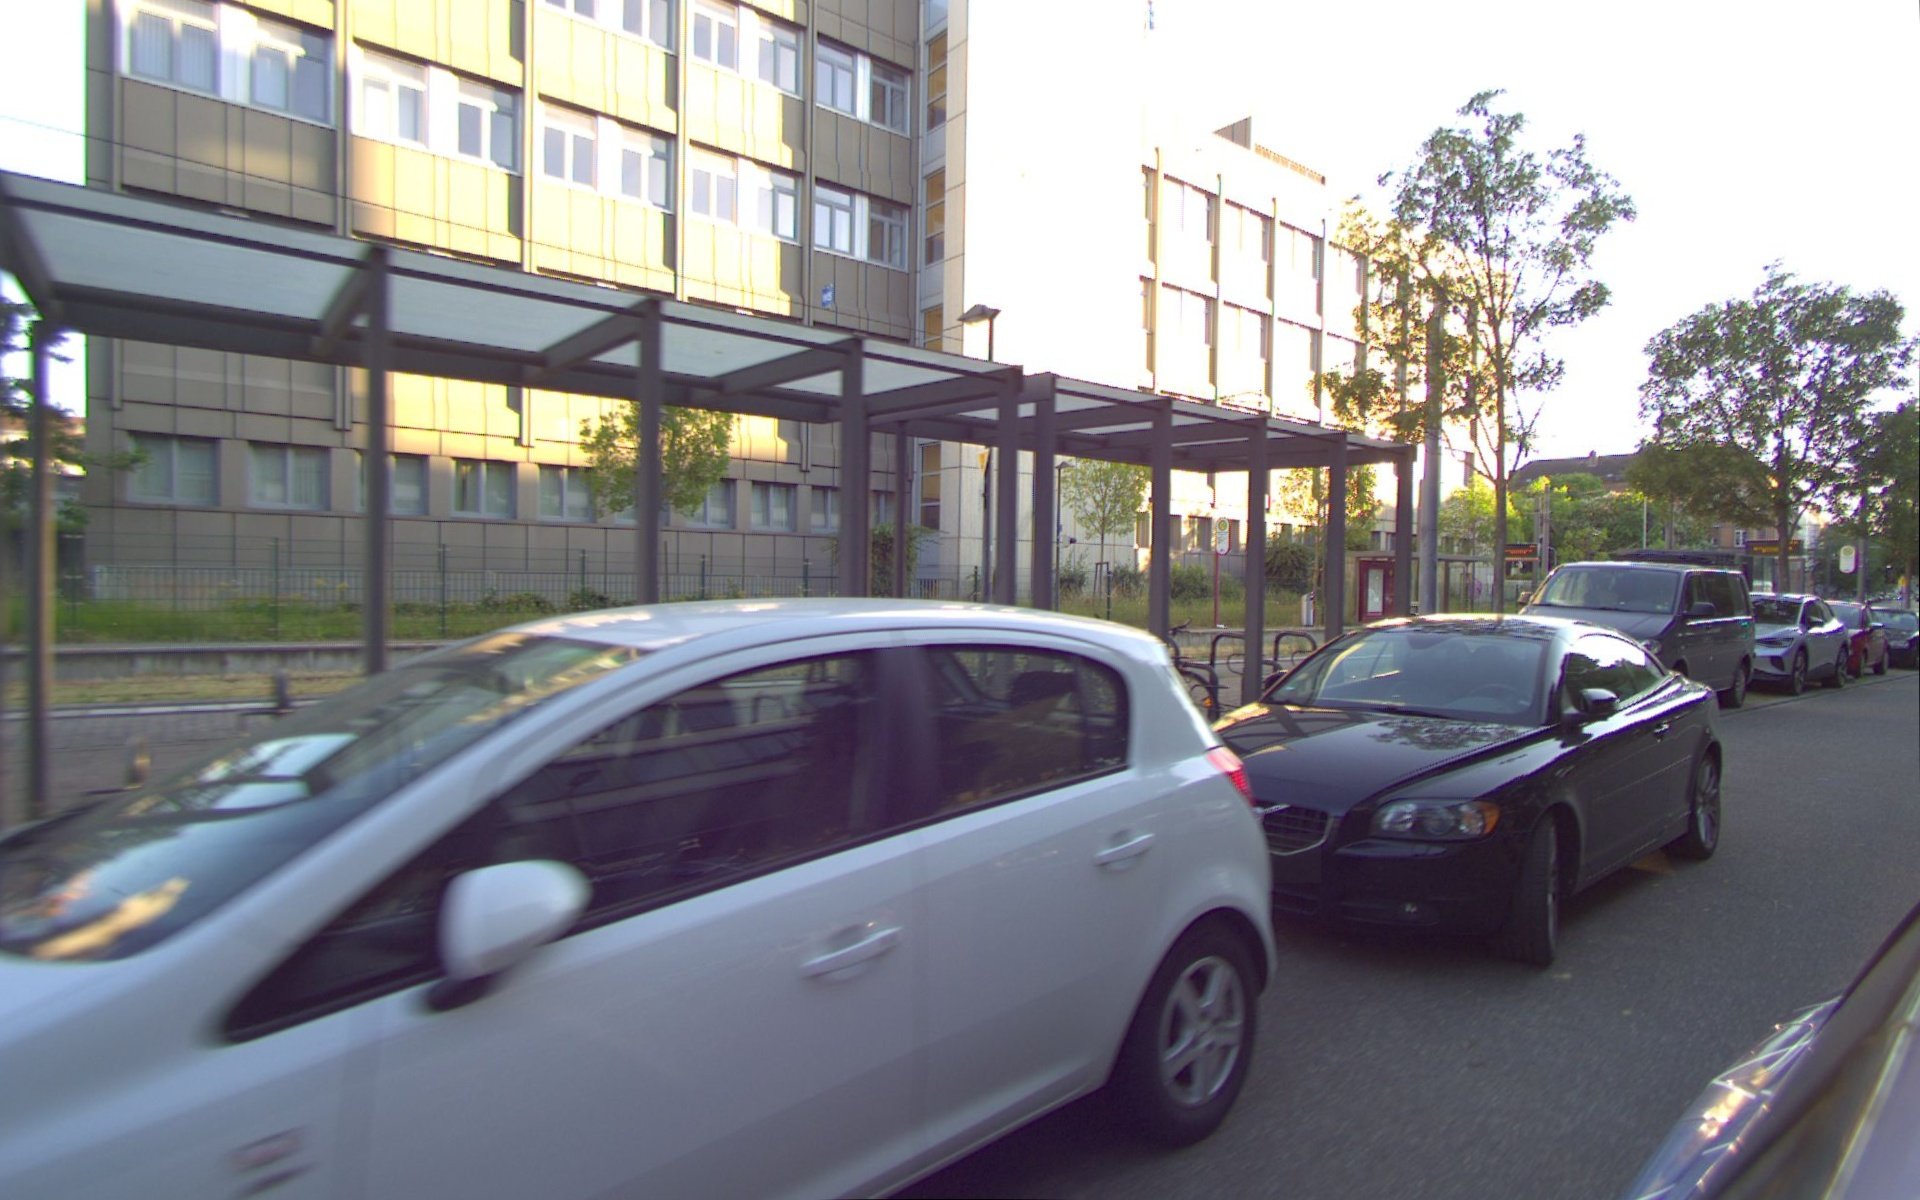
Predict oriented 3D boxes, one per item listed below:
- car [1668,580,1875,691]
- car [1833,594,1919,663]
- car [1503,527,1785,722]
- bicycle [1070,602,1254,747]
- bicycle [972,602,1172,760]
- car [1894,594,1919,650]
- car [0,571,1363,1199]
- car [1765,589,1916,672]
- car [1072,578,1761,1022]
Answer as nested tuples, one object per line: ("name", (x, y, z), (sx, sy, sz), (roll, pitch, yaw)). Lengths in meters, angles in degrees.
("car", (13.975, 0.523, 17.351), (4.396, 1.599, 1.713), (0, 3, -37))
("car", (22.906, 0.645, 24.707), (3.928, 1.469, 1.712), (0, 3, -39))
("car", (9.290, 0.225, 13.598), (4.651, 2.203, 1.809), (0, 3, -39))
("bicycle", (1.728, 0.602, 8.914), (0.413, 1.079, 1.724), (-1, 3, -38))
("bicycle", (0.856, 0.595, 8.270), (0.478, 1.079, 1.811), (-1, 3, -38))
("car", (28.883, 0.669, 29.329), (4.692, 1.514, 1.802), (0, 4, -37))
("car", (-0.813, 0.682, 2.483), (4.115, 1.470, 1.679), (0, 1, -42))
("car", (18.682, 0.579, 21.416), (4.057, 1.511, 1.712), (0, 3, -39))
("car", (2.769, 0.653, 5.531), (4.437, 1.470, 1.790), (0, 1, -42))
